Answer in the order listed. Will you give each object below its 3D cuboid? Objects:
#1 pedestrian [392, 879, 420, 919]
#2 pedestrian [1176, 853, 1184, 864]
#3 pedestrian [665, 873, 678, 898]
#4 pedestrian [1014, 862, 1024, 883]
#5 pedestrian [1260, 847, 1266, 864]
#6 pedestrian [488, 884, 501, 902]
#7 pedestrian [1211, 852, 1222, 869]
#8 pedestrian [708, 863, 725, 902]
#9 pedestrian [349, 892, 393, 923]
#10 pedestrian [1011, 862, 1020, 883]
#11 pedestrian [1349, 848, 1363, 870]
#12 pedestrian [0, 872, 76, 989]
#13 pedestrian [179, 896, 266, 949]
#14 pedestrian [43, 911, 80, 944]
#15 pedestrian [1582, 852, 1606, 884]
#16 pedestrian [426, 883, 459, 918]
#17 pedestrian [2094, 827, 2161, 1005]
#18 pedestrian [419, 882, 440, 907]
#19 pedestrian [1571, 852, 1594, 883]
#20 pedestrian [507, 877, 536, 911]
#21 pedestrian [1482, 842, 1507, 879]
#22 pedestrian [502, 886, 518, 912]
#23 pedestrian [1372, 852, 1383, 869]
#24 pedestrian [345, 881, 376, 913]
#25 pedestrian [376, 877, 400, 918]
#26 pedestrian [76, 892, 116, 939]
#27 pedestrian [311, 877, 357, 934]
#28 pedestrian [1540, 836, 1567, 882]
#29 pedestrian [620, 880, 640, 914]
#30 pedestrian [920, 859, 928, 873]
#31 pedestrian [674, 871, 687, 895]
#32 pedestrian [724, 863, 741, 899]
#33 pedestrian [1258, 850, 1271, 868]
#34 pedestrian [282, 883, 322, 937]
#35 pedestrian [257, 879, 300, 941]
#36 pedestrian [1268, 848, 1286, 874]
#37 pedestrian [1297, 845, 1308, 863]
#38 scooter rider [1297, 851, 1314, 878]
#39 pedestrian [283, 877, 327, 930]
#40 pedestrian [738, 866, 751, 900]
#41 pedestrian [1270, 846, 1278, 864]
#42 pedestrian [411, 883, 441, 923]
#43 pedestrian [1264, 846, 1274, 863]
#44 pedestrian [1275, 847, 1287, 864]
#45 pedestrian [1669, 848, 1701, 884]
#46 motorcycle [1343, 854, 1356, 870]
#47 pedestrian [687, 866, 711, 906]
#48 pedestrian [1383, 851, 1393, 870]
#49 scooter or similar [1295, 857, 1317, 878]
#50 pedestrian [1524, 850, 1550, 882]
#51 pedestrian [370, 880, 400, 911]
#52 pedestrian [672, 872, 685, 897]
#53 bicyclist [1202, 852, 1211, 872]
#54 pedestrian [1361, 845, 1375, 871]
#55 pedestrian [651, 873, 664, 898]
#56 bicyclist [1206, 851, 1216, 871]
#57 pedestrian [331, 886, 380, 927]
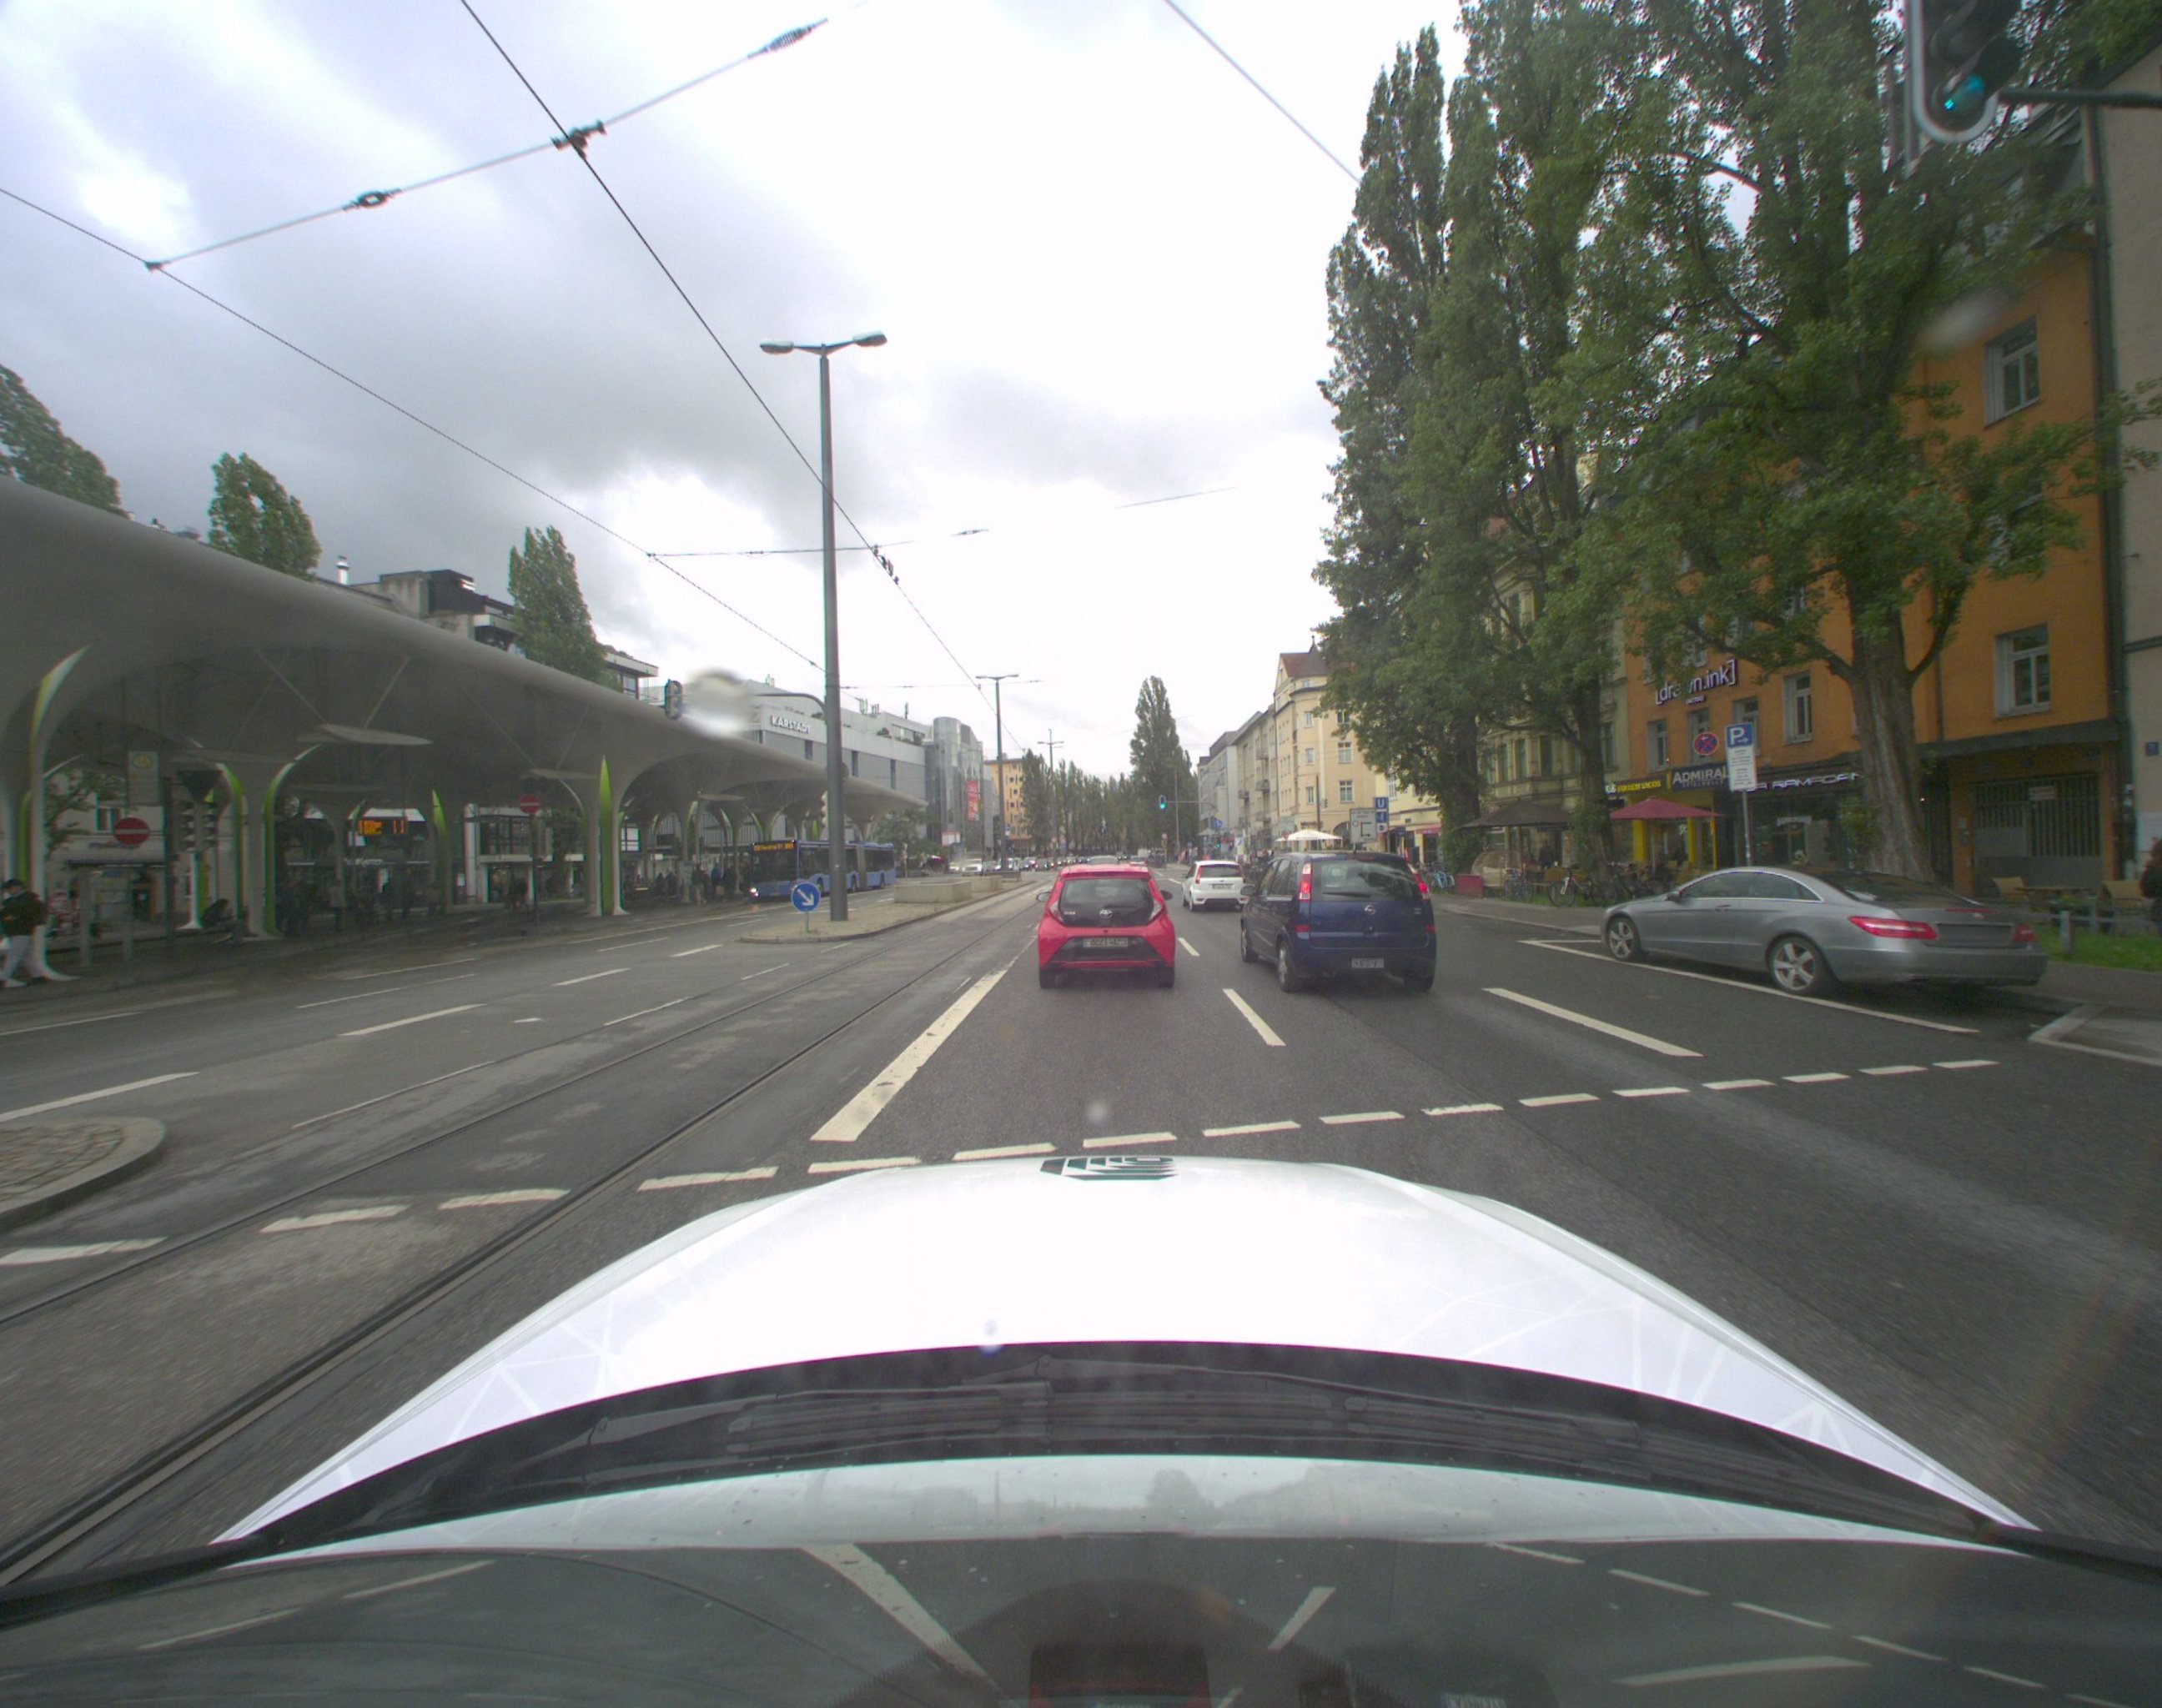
[{"bbox_3d":[-27.328,1.815,32.983,0.664,1.564,0.637,-2,-1,-24],"label":"pedestrian"},{"bbox_3d":[13.597,0.619,111.951,0.804,1.522,0.802,-2,-1,-40],"label":"pedestrian"},{"bbox_3d":[-26.492,2.040,52.644,0.572,1.610,0.546,-2,0,-8],"label":"pedestrian"},{"bbox_3d":[-4.665,1.385,61.106,0.466,1.618,0.515,-1,-1,-45],"label":"pedestrian"},{"bbox_3d":[18.545,0.147,83.087,0.556,1.609,0.570,-2,3,15],"label":"pedestrian"},{"bbox_3d":[-44.646,2.995,62.011,0.507,1.333,0.580,-2,-1,20],"label":"pedestrian"},{"bbox_3d":[13.749,0.624,82.587,0.826,1.691,0.825,-2,0,39],"label":"pedestrian"},{"bbox_3d":[-16.918,1.309,37.770,0.566,1.743,0.751,-2,0,-17],"label":"pedestrian"},{"bbox_3d":[-27.440,2.066,31.479,0.908,1.155,0.878,0,0,2],"label":"pedestrian"},{"bbox_3d":[-4.941,1.386,61.396,0.489,1.618,0.552,-2,-1,-33],"label":"pedestrian"},{"bbox_3d":[18.211,0.357,53.955,0.673,1.422,0.617,-2,-1,2],"label":"pedestrian"},{"bbox_3d":[-17.245,1.226,13.306,0.665,1.839,0.806,-2,-1,-17],"label":"pedestrian"},{"bbox_3d":[-21.880,1.733,20.780,0.803,1.230,1.277,-2,0,20],"label":"pedestrian"},{"bbox_3d":[-35.323,2.543,28.228,0.516,1.084,0.577,-2,0,-6],"label":"pedestrian"},{"bbox_3d":[21.033,0.578,33.400,0.581,1.280,0.583,-2,-1,1],"label":"pedestrian"},{"bbox_3d":[-29.049,2.103,37.057,0.742,1.508,0.894,-2,-1,-5],"label":"pedestrian"},{"bbox_3d":[9.861,0.540,7.391,0.765,1.562,0.754,-1,0,-33],"label":"pedestrian"},{"bbox_3d":[-45.498,2.828,56.891,0.775,1.661,0.776,-2,-1,11],"label":"pedestrian"},{"bbox_3d":[21.079,0.580,34.238,0.581,1.280,0.583,-2,-1,1],"label":"pedestrian"},{"bbox_3d":[-30.228,2.143,43.988,0.866,1.730,0.897,-2,0,5],"label":"pedestrian"},{"bbox_3d":[18.675,0.271,36.778,0.707,1.632,0.787,-2,-1,2],"label":"pedestrian"},{"bbox_3d":[-29.210,2.310,41.675,0.578,1.265,0.513,-2,0,-44],"label":"pedestrian"},{"bbox_3d":[21.495,0.482,59.082,0.512,1.182,0.703,-2,0,0],"label":"pedestrian"},{"bbox_3d":[-41.758,2.466,47.226,0.921,1.773,1.004,-2,-1,21],"label":"pedestrian"},{"bbox_3d":[-29.457,1.857,34.607,0.691,1.696,0.652,-3,-1,42],"label":"pedestrian"},{"bbox_3d":[-35.256,2.192,29.165,0.600,1.647,0.640,-2,-1,-6],"label":"pedestrian"},{"bbox_3d":[-23.608,1.605,25.760,0.809,1.727,0.669,-2,-1,-15],"label":"pedestrian"},{"bbox_3d":[18.265,0.201,31.498,0.598,1.739,0.666,-2,-1,2],"label":"pedestrian"},{"bbox_3d":[-27.583,2.611,49.848,0.912,2.013,0.665,-1,-1,-40],"label":"pedestrian"},{"bbox_3d":[-19.635,1.508,101.702,0.752,1.773,0.767,-2,0,-22],"label":"pedestrian"},{"bbox_3d":[-27.355,1.966,55.628,0.572,1.610,0.580,-2,0,-8],"label":"pedestrian"},{"bbox_3d":[-17.204,1.344,40.205,0.503,1.734,0.572,-2,-1,1],"label":"pedestrian"},{"bbox_3d":[15.706,0.410,69.709,0.730,1.540,0.887,-2,0,-13],"label":"pedestrian"},{"bbox_3d":[-23.270,1.649,24.332,0.593,1.545,0.634,-2,-1,-16],"label":"pedestrian"},{"bbox_3d":[-25.306,1.741,25.697,0.715,1.873,0.871,-2,-1,-27],"label":"pedestrian"},{"bbox_3d":[13.665,0.500,56.725,0.882,1.743,0.854,-2,-1,-15],"label":"pedestrian"},{"bbox_3d":[21.926,-0.016,80.529,0.749,1.684,0.676,-4,3,-32],"label":"pedestrian"},{"bbox_3d":[11.715,0.527,42.480,0.698,1.389,0.643,-2,0,0],"label":"scooter rider"},{"bbox_3d":[-27.313,1.728,28.676,0.759,1.789,0.783,-2,-1,4],"label":"pedestrian"},{"bbox_3d":[-16.145,1.409,39.072,0.391,1.605,0.390,-2,-1,-3],"label":"pedestrian"},{"bbox_3d":[19.467,0.054,82.101,0.647,1.751,0.636,-3,3,-3],"label":"pedestrian"},{"bbox_3d":[-27.640,2.060,34.389,0.643,1.618,0.701,-2,-1,6],"label":"pedestrian"},{"bbox_3d":[19.118,0.060,82.864,0.648,1.705,0.727,-4,3,-28],"label":"pedestrian"},{"bbox_3d":[20.478,0.146,83.253,0.930,1.755,1.066,-2,0,2],"label":"pedestrian"},{"bbox_3d":[20.684,0.413,27.912,0.620,1.218,0.583,-2,-1,1],"label":"pedestrian"},{"bbox_3d":[19.184,0.569,58.235,0.484,1.156,1.572,-2,0,2],"label":"motorcycle"},{"bbox_3d":[-17.249,1.434,36.795,0.713,1.722,0.879,-2,0,-9],"label":"pedestrian"},{"bbox_3d":[21.534,0.443,57.113,0.477,1.299,0.527,-2,0,0],"label":"pedestrian"},{"bbox_3d":[11.763,0.698,42.513,0.773,1.075,1.256,-2,0,0],"label":"scooter or similar"},{"bbox_3d":[17.656,0.465,31.557,0.598,1.222,0.666,-2,-1,2],"label":"pedestrian"},{"bbox_3d":[-41.340,2.473,48.401,0.921,1.773,1.004,-2,-1,21],"label":"pedestrian"},{"bbox_3d":[-26.919,2.042,54.489,0.572,1.610,0.546,-2,0,-8],"label":"pedestrian"},{"bbox_3d":[11.111,0.694,71.953,0.611,1.657,1.252,-2,0,3],"label":"bicyclist"},{"bbox_3d":[18.737,0.253,53.204,0.612,1.632,0.678,-2,-1,2],"label":"pedestrian"},{"bbox_3d":[-27.326,2.035,52.558,0.572,1.610,0.546,-2,0,-8],"label":"pedestrian"},{"bbox_3d":[12.226,0.661,76.450,0.759,1.870,1.133,-2,0,3],"label":"bicyclist"},{"bbox_3d":[-25.750,1.852,28.901,0.957,1.370,0.843,-2,0,8],"label":"pedestrian"}]
